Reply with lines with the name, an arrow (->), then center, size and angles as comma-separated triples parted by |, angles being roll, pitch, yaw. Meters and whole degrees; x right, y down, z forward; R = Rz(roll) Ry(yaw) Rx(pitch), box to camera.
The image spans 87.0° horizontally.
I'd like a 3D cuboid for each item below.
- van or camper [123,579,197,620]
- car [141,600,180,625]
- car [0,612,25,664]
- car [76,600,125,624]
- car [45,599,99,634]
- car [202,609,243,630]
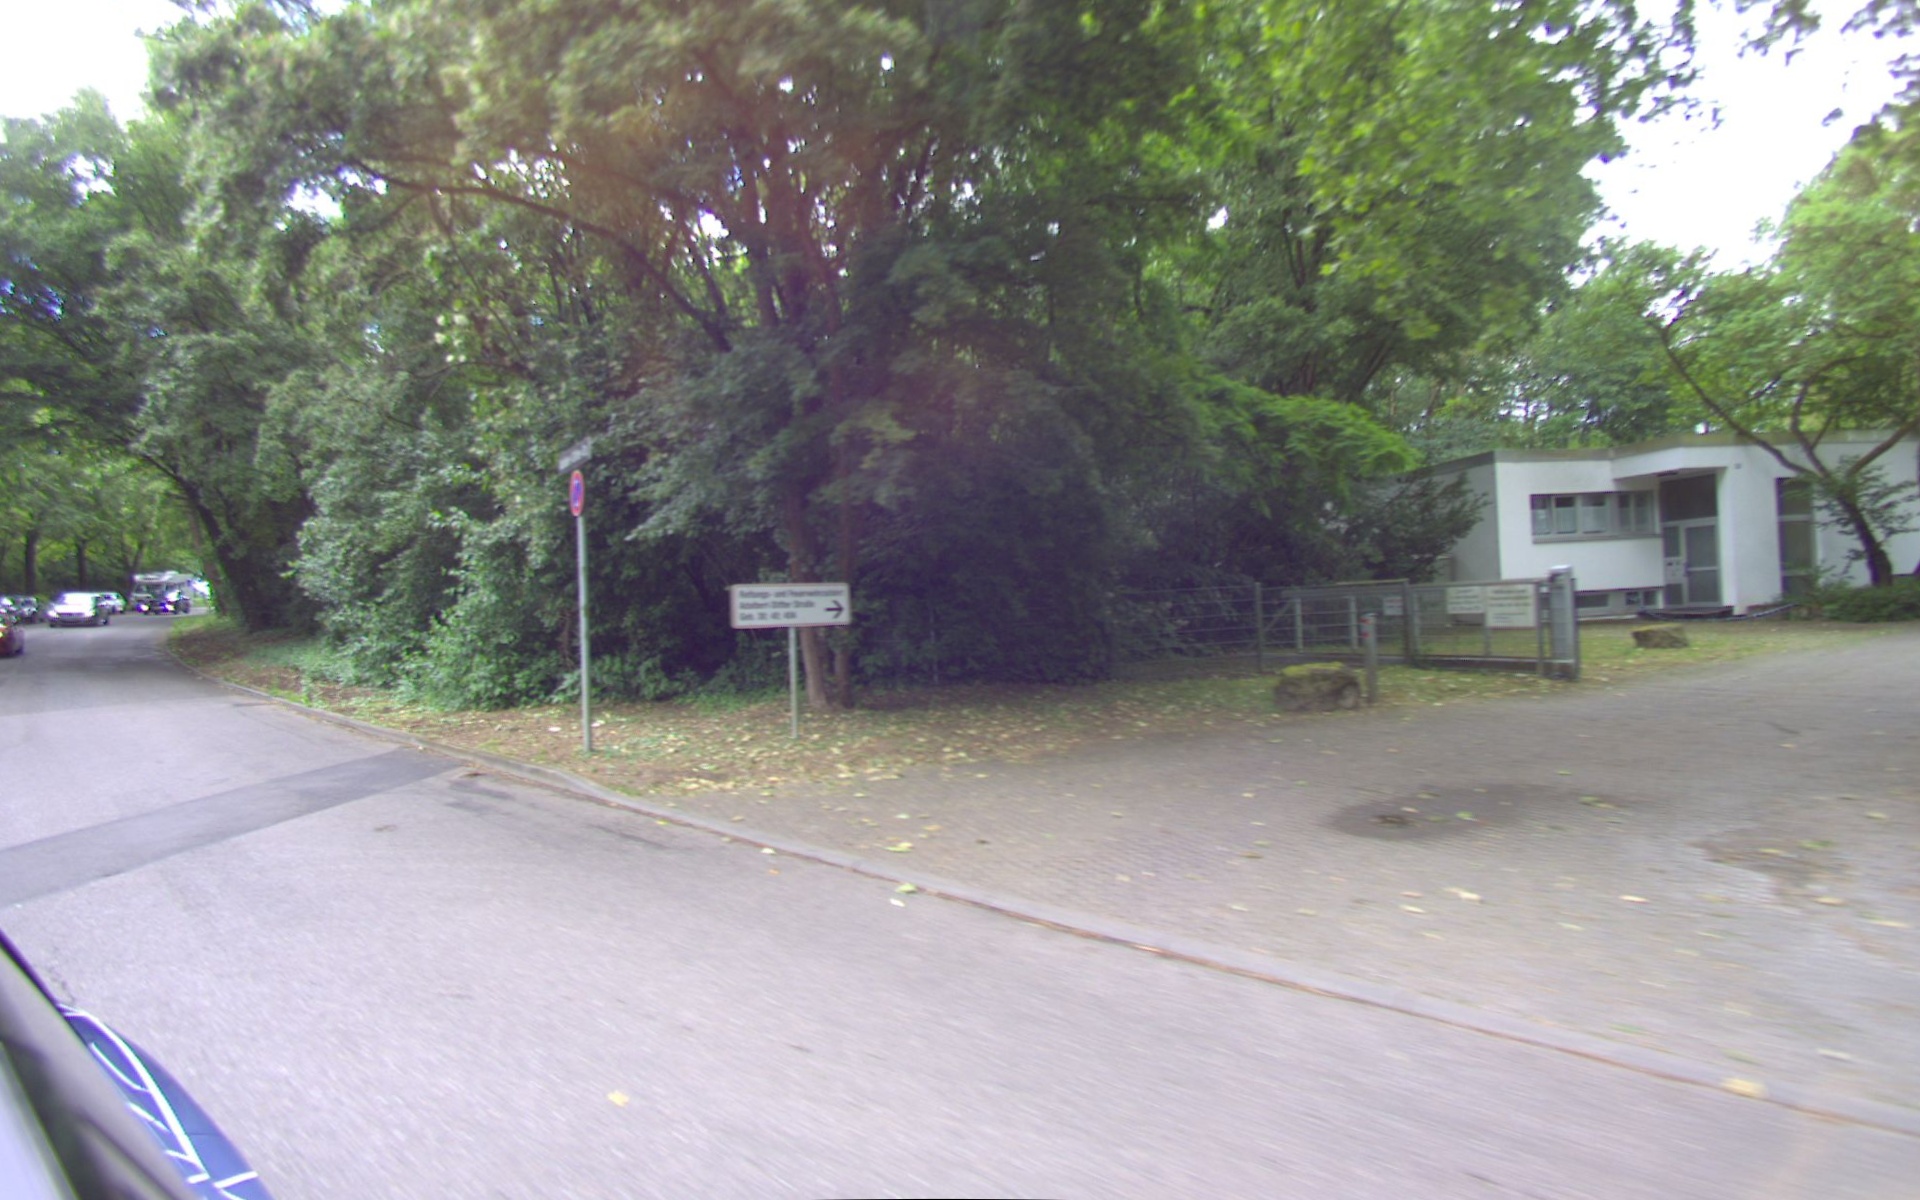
van or camper -> -61.996, -0.064, 78.621 | 2.390, 3.002, 7.418 | -1, 1, -22
car -> -52.977, 0.790, 67.085 | 1.740, 1.580, 4.056 | -2, 1, -35
car -> -29.510, 1.127, 29.899 | 4.669, 1.483, 1.935 | -1, 1, 37
car -> -57.201, 0.762, 67.421 | 1.665, 1.493, 4.120 | -2, 1, -28
car -> -42.970, 0.771, 49.060 | 1.629, 1.580, 4.054 | -2, 1, -37
car -> -60.614, 1.611, 83.232 | 1.738, 1.580, 4.059 | -2, 1, -22
